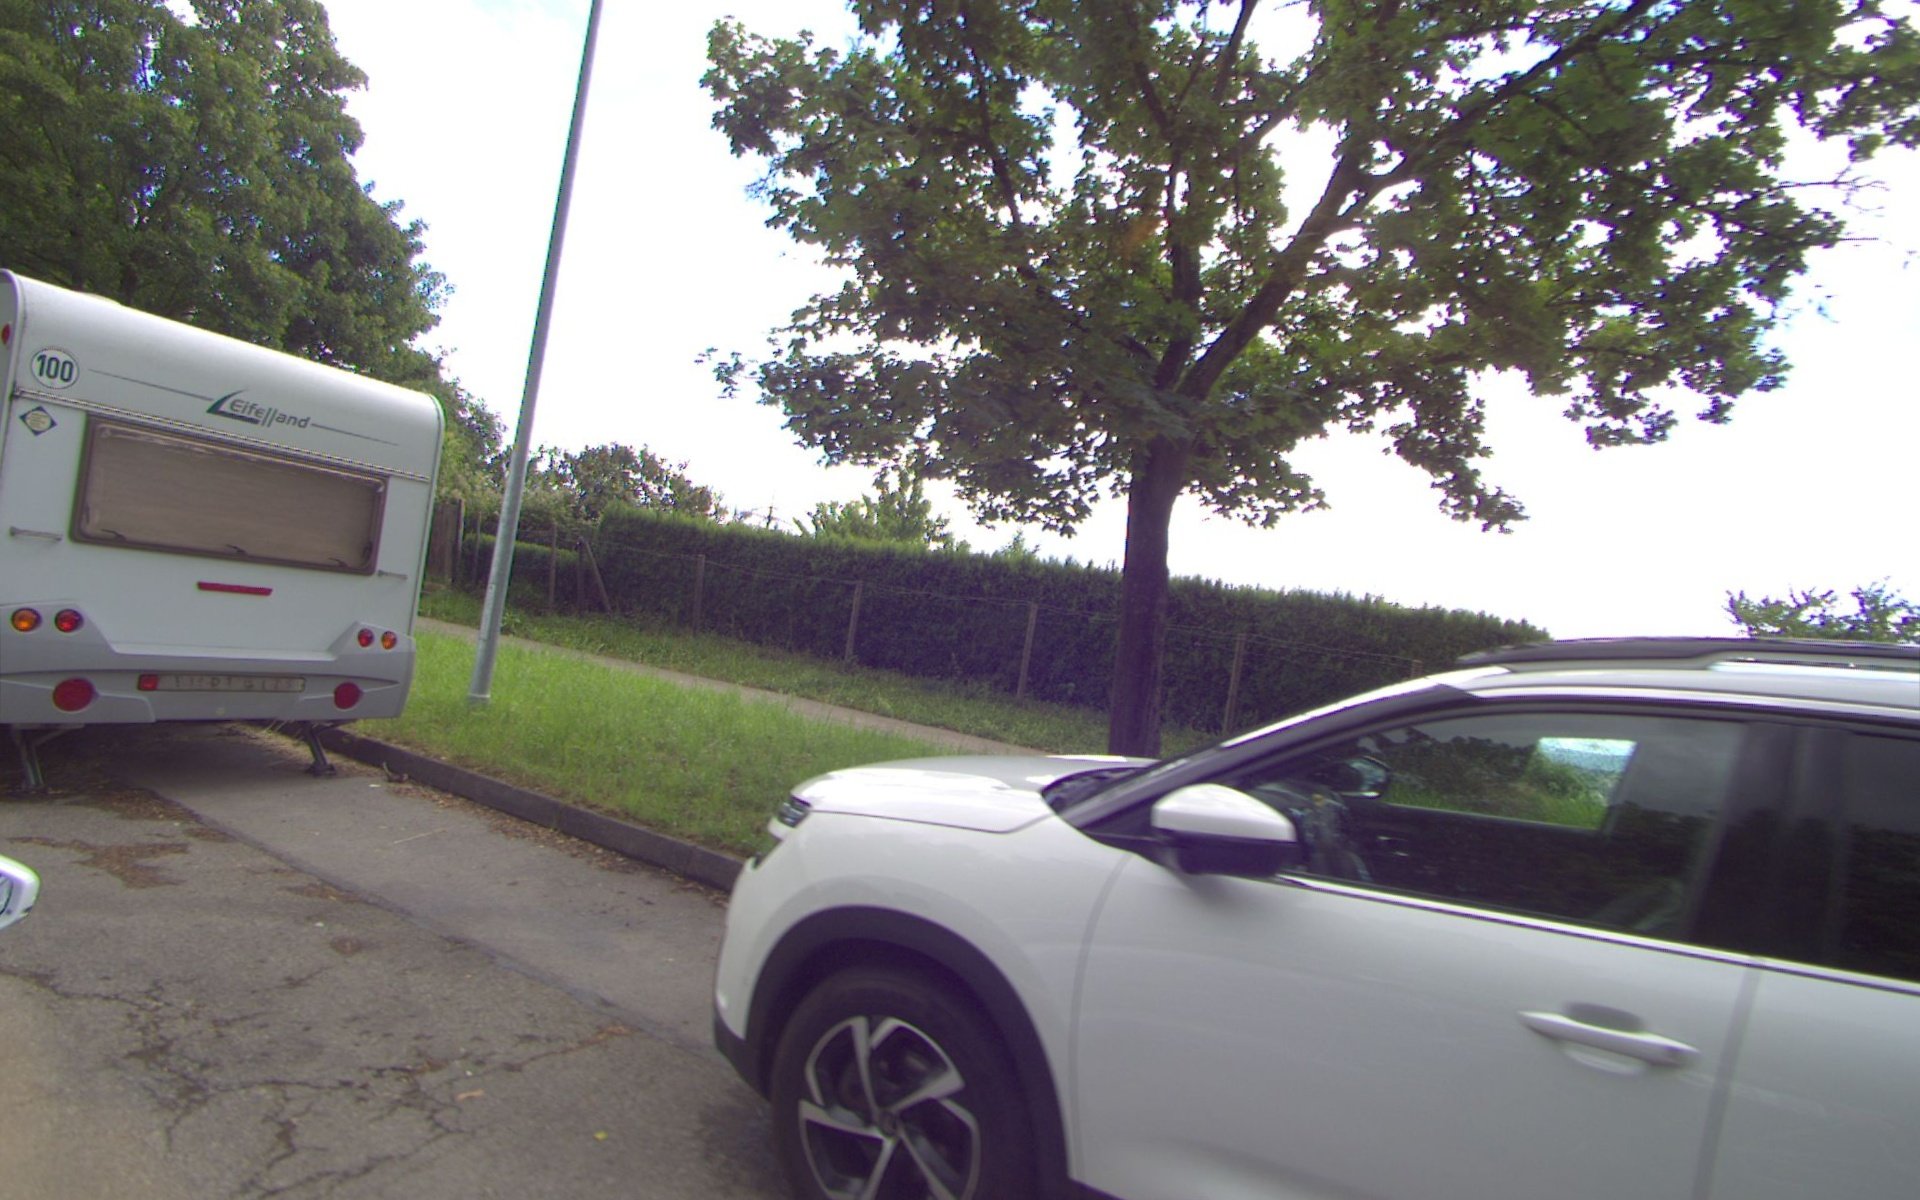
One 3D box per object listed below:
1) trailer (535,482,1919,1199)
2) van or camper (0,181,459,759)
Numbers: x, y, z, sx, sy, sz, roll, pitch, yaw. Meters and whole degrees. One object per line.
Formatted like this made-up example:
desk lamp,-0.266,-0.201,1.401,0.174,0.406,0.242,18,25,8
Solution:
trailer,1.338,0.823,2.357,4.571,1.752,1.775,6,0,30
van or camper,-6.418,-0.771,6.746,5.926,2.565,2.168,7,-2,28
